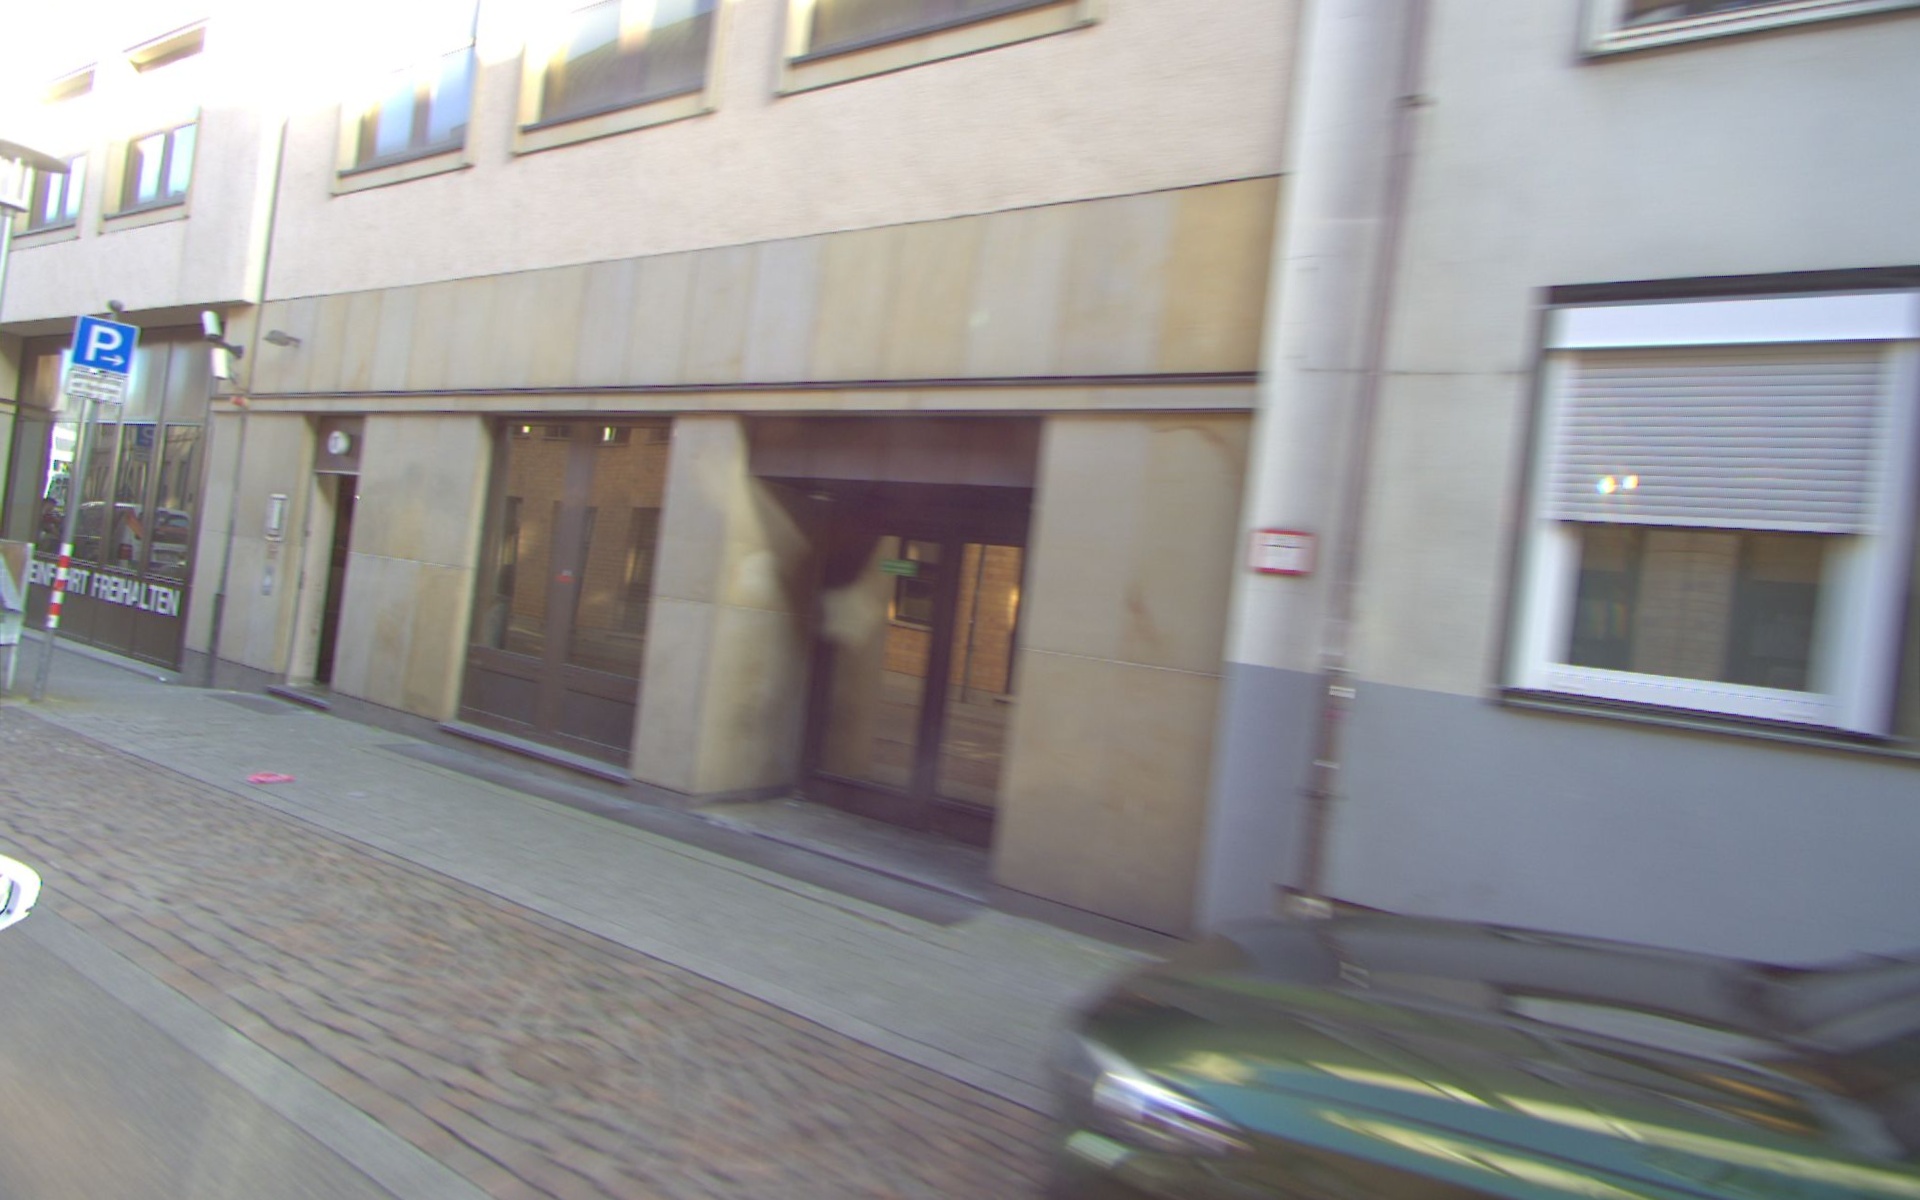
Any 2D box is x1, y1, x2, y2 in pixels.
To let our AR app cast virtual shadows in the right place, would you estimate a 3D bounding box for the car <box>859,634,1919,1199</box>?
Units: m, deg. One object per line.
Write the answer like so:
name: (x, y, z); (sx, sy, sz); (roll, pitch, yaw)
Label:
car: (2.499, 1.162, 1.504); (5.139, 1.469, 1.898); (7, -3, 32)
